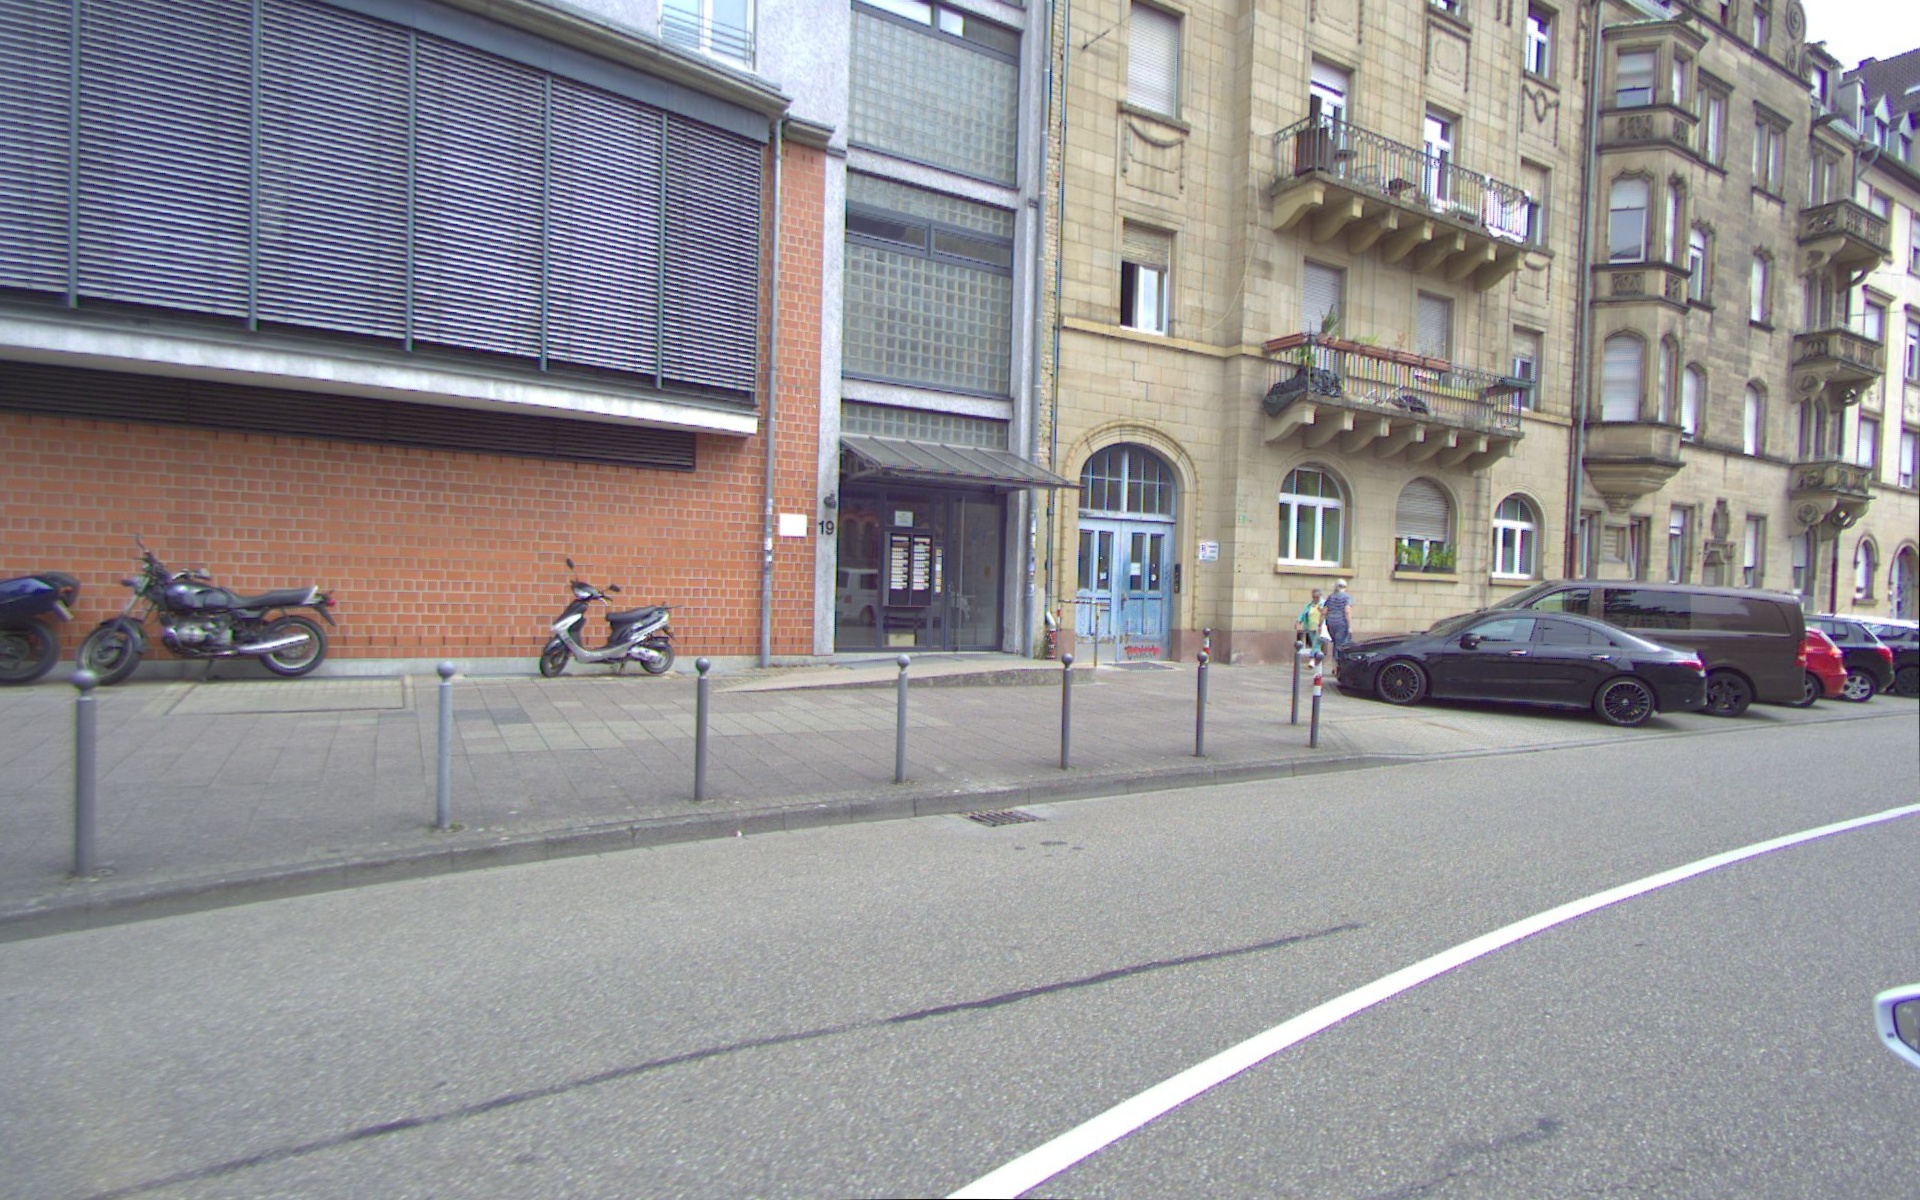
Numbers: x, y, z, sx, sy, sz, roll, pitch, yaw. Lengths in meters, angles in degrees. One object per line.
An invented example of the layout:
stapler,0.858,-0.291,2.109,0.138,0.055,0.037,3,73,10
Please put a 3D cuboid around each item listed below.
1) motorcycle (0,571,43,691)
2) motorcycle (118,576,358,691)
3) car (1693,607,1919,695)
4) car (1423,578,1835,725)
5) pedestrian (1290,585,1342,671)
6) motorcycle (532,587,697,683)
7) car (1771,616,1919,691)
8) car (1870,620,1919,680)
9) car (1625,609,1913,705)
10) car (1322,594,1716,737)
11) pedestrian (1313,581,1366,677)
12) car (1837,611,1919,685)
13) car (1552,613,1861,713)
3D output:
motorcycle,-9.328,0.264,8.934,1.638,1.063,0.580,1,2,-32
motorcycle,-7.360,0.317,10.308,1.951,1.063,0.578,1,3,-41
car,17.828,1.001,20.863,3.939,1.585,1.794,2,1,29
car,10.365,0.703,16.174,5.172,1.935,2.119,2,1,26
pedestrian,6.377,0.486,18.002,0.504,1.505,0.656,1,1,-33
motorcycle,-4.116,0.408,12.001,1.772,1.063,0.581,1,2,-30
car,20.503,1.175,22.204,3.616,1.501,1.740,2,1,25
car,25.890,1.337,25.412,3.829,1.463,1.835,2,1,25
car,15.094,1.007,19.021,3.921,1.523,1.630,2,1,26
car,7.709,0.820,14.428,4.581,1.428,1.899,5,3,22
pedestrian,6.381,0.482,16.884,0.642,1.566,0.506,2,1,42
car,23.480,1.176,23.756,3.706,1.674,1.723,2,1,25
car,12.836,1.034,17.593,3.933,1.428,1.796,2,1,20
